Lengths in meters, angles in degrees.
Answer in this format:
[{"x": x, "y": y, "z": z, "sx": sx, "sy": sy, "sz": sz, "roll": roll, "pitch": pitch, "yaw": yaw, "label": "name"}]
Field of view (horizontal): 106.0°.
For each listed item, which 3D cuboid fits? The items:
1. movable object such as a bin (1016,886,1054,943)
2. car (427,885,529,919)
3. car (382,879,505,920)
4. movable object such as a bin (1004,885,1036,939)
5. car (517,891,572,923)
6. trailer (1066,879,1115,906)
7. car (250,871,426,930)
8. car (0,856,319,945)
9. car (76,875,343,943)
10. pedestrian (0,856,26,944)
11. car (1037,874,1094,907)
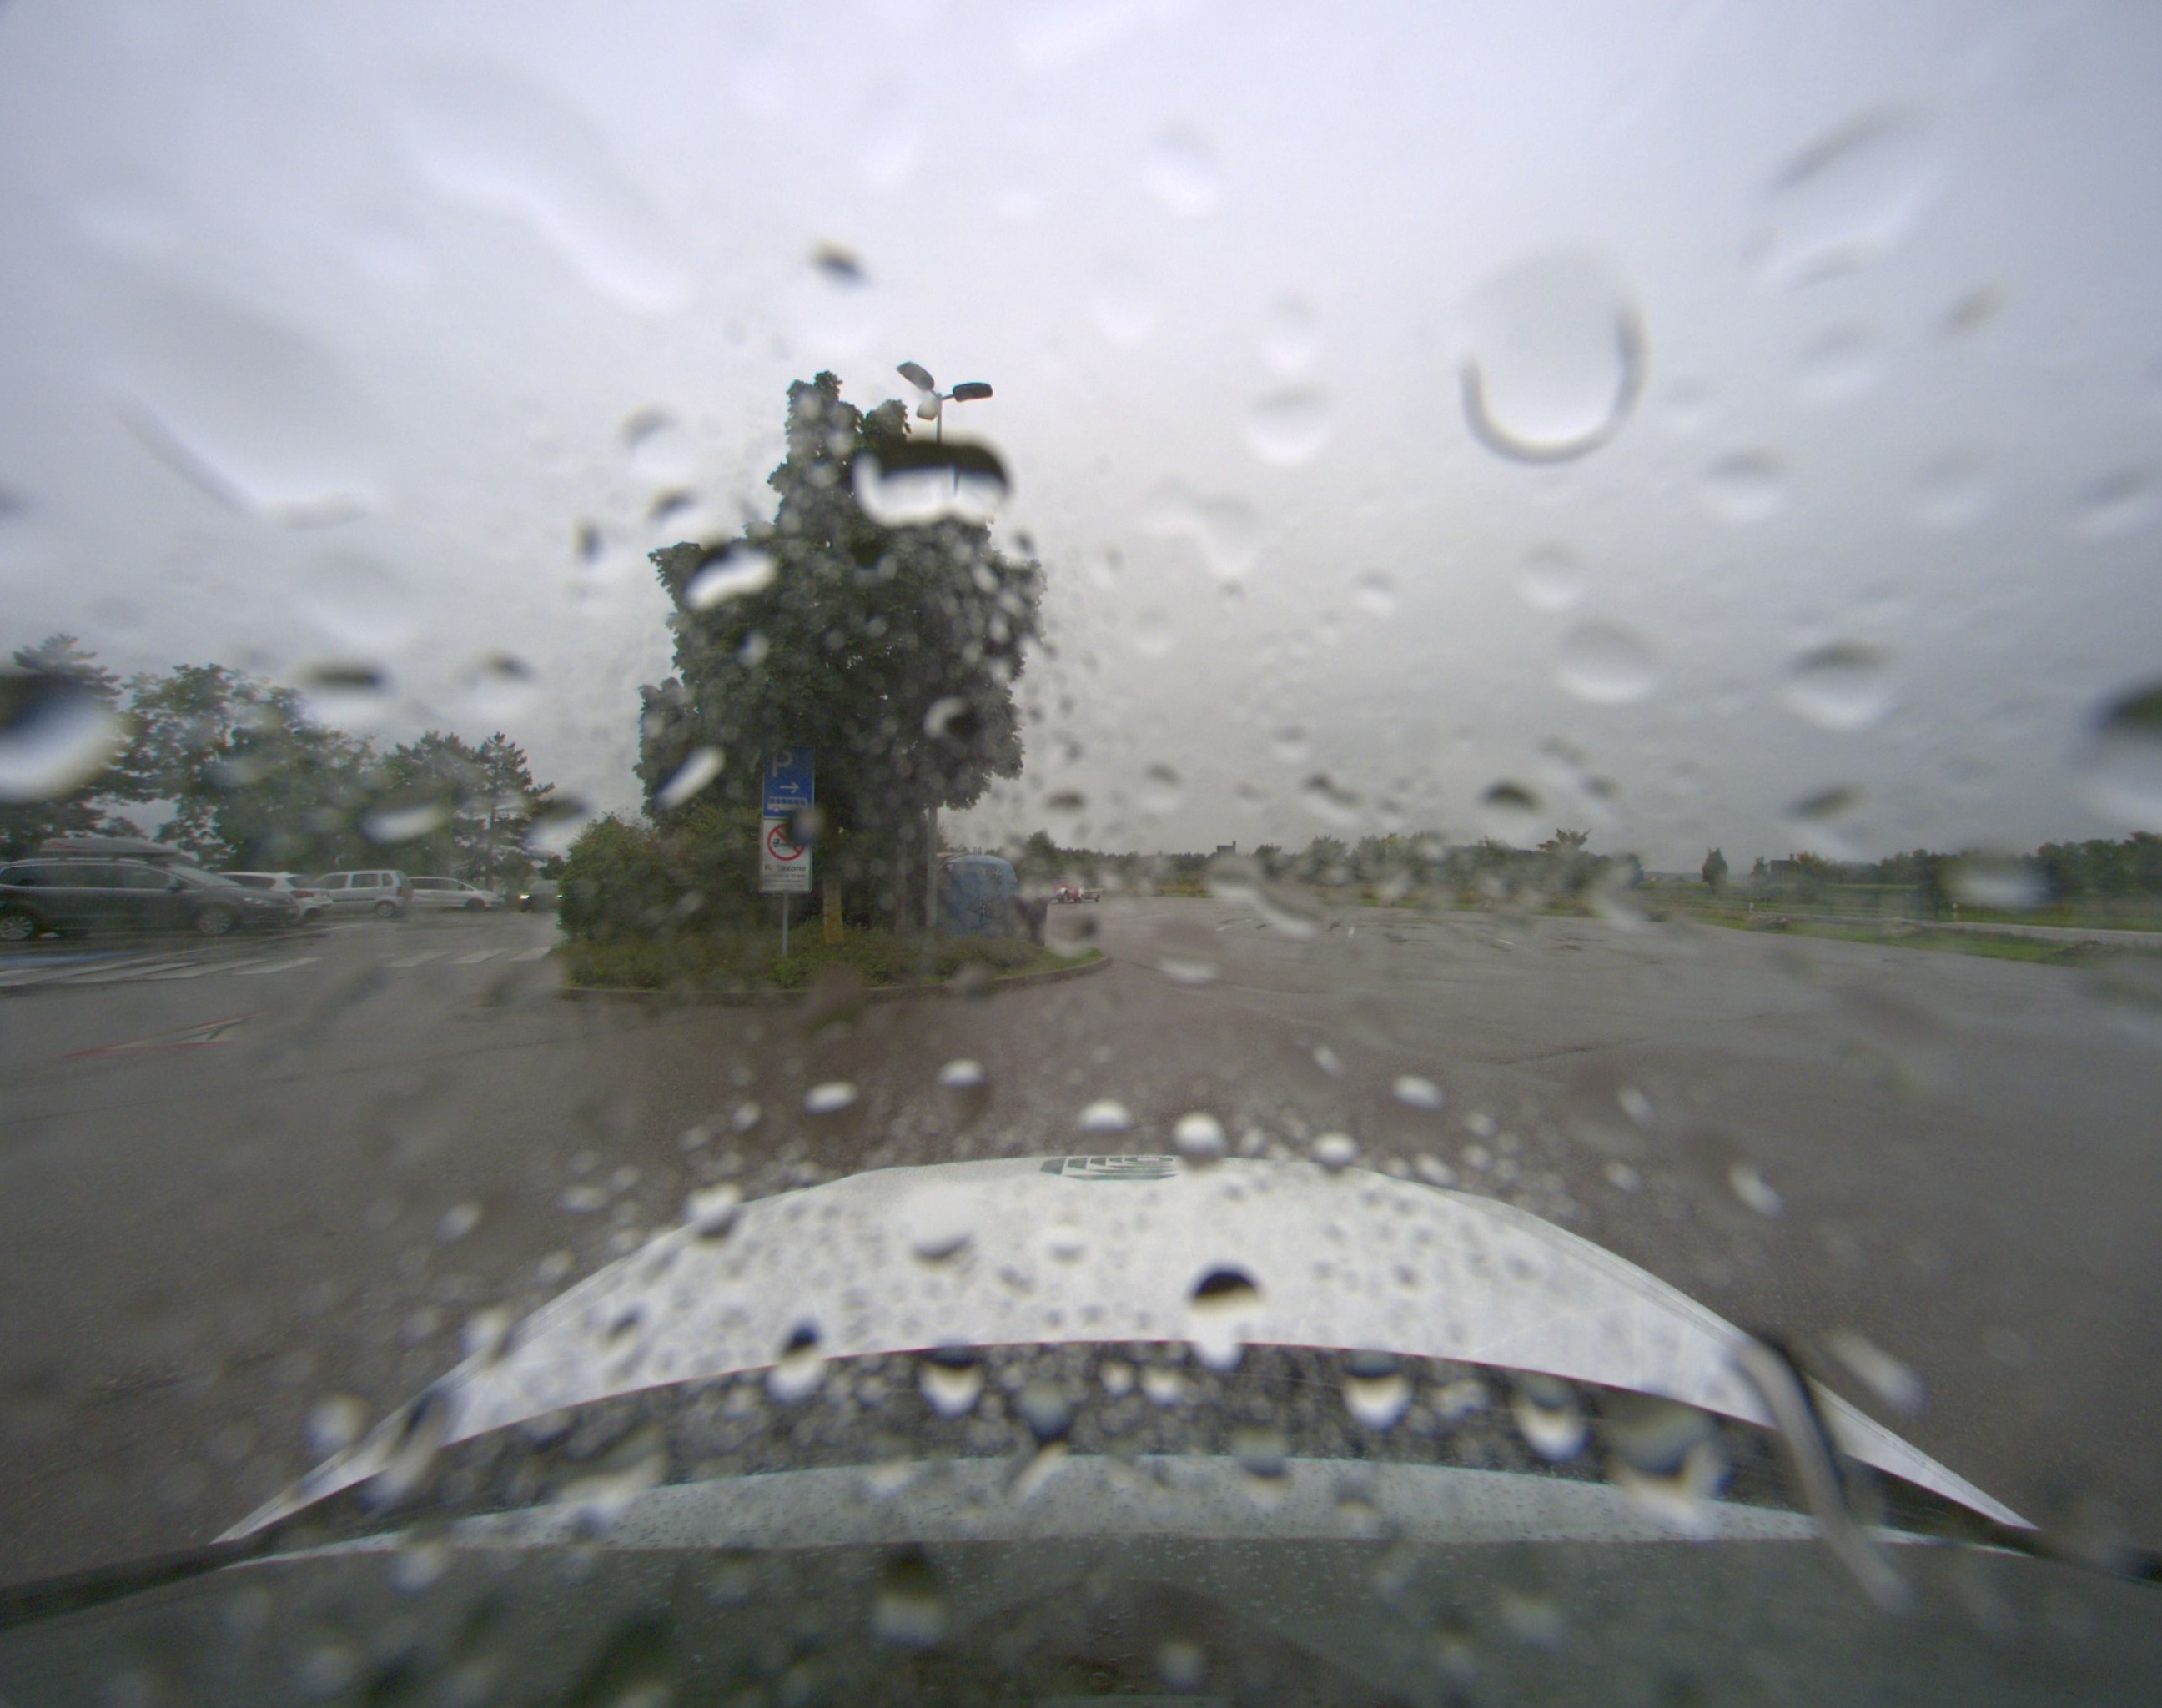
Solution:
[{"x": -0.806, "y": 1.052, "z": 14.298, "sx": 0.429, "sy": 0.949, "sz": 0.476, "roll": 0, "pitch": -2, "yaw": 41, "label": "movable object such as a bin"}, {"x": -34.345, "y": 2.718, "z": 46.573, "sx": 4.378, "sy": 1.862, "sz": 1.834, "roll": 1, "pitch": -2, "yaw": -27, "label": "car"}, {"x": -30.737, "y": 2.186, "z": 39.464, "sx": 4.378, "sy": 1.862, "sz": 1.834, "roll": 0, "pitch": -3, "yaw": -27, "label": "car"}, {"x": -1.105, "y": 1.044, "z": 14.737, "sx": 0.401, "sy": 0.949, "sz": 0.452, "roll": 1, "pitch": -2, "yaw": 17, "label": "movable object such as a bin"}, {"x": -24.142, "y": 2.387, "z": 36.738, "sx": 1.654, "sy": 1.370, "sz": 3.963, "roll": 1, "pitch": -4, "yaw": -28, "label": "car"}, {"x": 0.626, "y": 2.294, "z": 49.221, "sx": 1.680, "sy": 1.533, "sz": 4.020, "roll": -1, "pitch": -2, "yaw": 21, "label": "trailer"}, {"x": -25.209, "y": 1.553, "z": 27.830, "sx": 4.032, "sy": 1.862, "sz": 1.834, "roll": 0, "pitch": -3, "yaw": -27, "label": "car"}, {"x": -20.586, "y": 0.941, "z": 18.068, "sx": 4.962, "sy": 1.792, "sz": 1.982, "roll": 0, "pitch": -1, "yaw": -27, "label": "car"}, {"x": -21.655, "y": 1.311, "z": 20.489, "sx": 4.205, "sy": 1.517, "sz": 1.729, "roll": 0, "pitch": 0, "yaw": -25, "label": "car"}, {"x": -21.601, "y": 0.912, "z": 16.165, "sx": 0.603, "sy": 1.725, "sz": 0.688, "roll": -4, "pitch": -5, "yaw": 44, "label": "pedestrian"}, {"x": -0.819, "y": 2.042, "z": 45.431, "sx": 1.807, "sy": 1.777, "sz": 4.020, "roll": -1, "pitch": -3, "yaw": 21, "label": "car"}]
